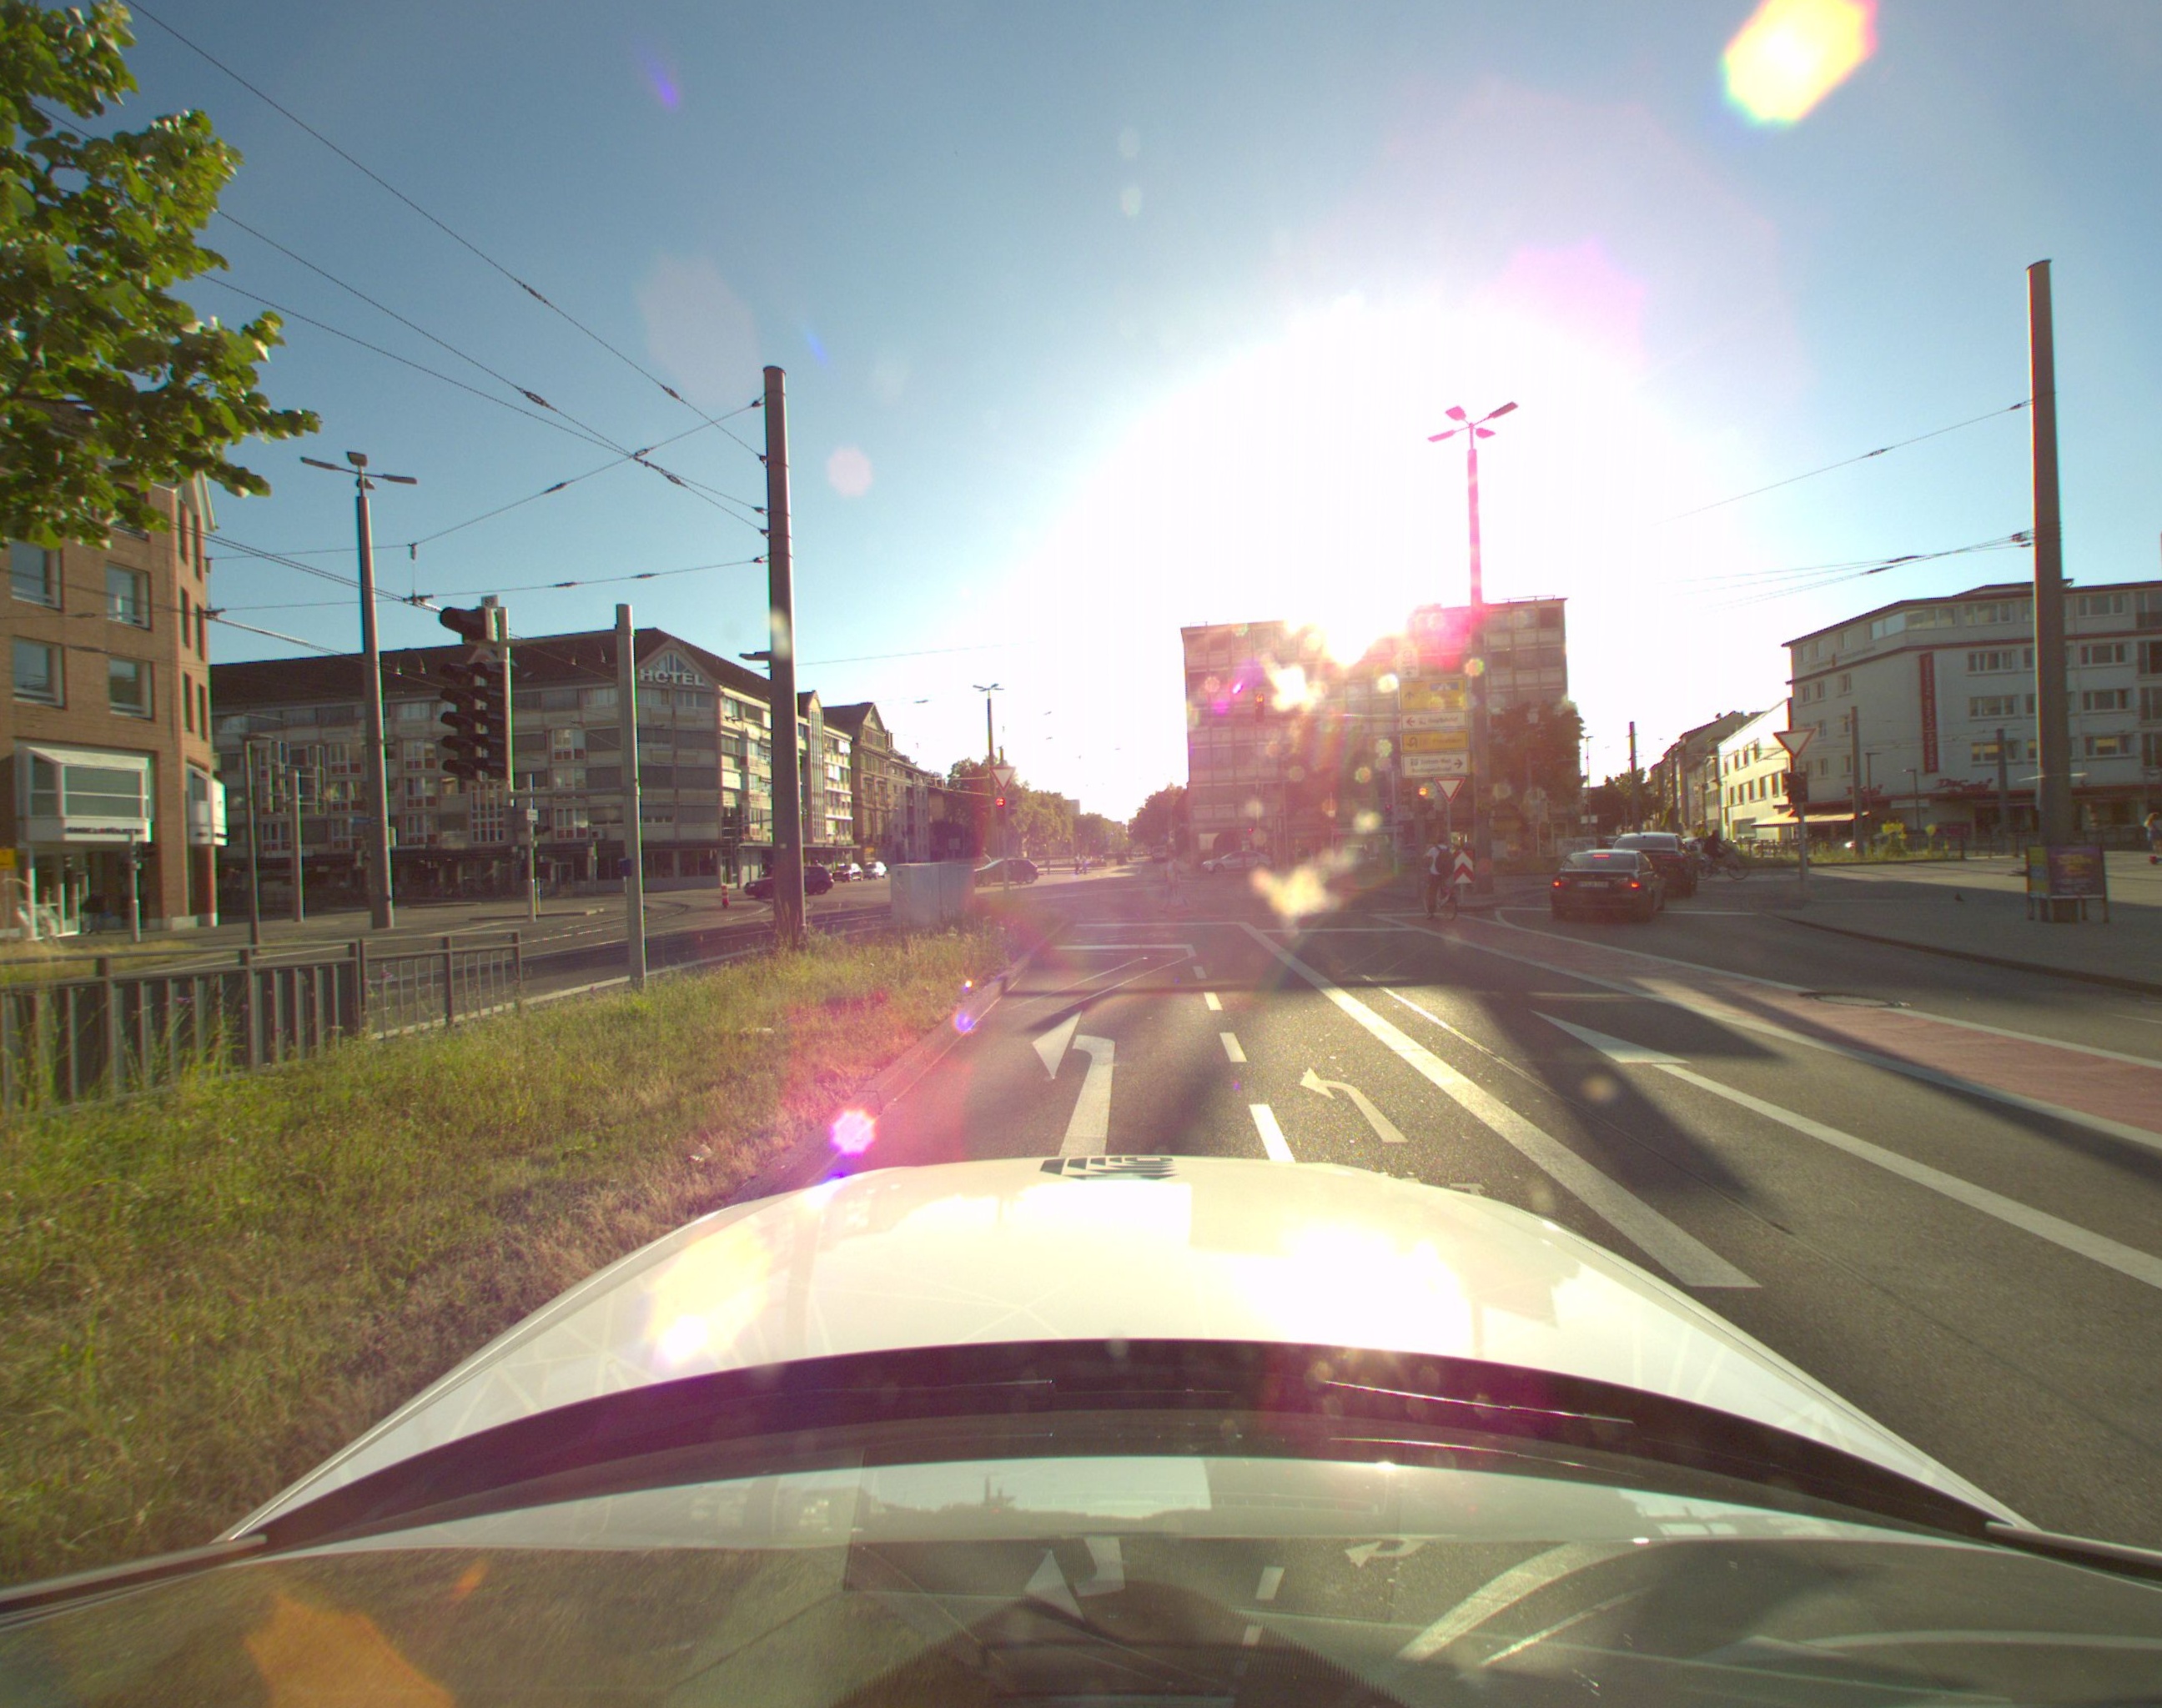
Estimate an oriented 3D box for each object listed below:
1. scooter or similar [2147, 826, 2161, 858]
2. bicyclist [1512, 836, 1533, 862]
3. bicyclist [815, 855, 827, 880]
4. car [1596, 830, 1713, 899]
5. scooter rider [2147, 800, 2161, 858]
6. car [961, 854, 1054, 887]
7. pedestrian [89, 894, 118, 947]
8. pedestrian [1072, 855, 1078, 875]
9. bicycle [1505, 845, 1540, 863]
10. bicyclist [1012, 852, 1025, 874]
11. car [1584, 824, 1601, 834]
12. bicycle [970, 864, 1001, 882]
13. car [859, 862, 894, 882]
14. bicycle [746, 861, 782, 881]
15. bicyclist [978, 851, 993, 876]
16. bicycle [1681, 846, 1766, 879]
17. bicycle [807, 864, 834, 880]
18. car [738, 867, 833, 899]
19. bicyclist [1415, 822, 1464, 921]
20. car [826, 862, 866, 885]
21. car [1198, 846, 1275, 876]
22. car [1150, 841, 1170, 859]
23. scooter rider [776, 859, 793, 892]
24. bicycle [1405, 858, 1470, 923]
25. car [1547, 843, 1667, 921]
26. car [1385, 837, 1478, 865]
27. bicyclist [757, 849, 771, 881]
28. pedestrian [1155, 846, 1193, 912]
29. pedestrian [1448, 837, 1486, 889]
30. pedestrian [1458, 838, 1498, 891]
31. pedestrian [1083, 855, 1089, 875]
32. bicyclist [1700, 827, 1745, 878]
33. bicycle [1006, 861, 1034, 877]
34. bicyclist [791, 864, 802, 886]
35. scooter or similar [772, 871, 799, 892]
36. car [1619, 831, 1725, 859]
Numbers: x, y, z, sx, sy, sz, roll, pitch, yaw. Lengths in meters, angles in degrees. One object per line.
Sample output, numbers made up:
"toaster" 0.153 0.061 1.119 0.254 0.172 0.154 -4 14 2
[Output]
"scooter or similar" 36.371 -0.404 27.384 1.391 1.033 0.489 -2 0 -31
"bicyclist" 29.989 -0.335 55.295 1.036 1.739 0.678 -2 0 0
"bicyclist" -18.449 0.952 57.768 0.662 1.712 0.537 -3 0 -5
"car" 15.833 0.219 22.420 1.975 1.693 4.024 0 2 45
"scooter rider" 36.374 -0.850 27.417 0.535 1.920 0.496 -2 0 -31
"car" -4.122 0.901 45.786 4.787 1.596 1.984 -3 0 -25
"pedestrian" -34.302 2.337 28.589 0.495 1.807 0.546 -3 0 32
"pedestrian" -0.446 0.814 62.443 0.365 1.508 0.542 -3 0 -3
"bicycle" 29.963 0.003 55.288 1.966 1.098 0.677 -2 0 0
"bicyclist" -5.025 0.729 65.435 0.895 1.753 0.650 -3 0 0
"car" 75.833 -3.656 120.813 1.974 1.398 4.025 -3 0 31
"bicycle" -6.781 1.353 57.867 2.087 1.137 0.658 -3 0 -1
"car" -20.550 1.765 82.059 1.983 1.860 4.008 -3 0 7
"bicycle" -17.663 0.941 45.373 1.783 1.072 0.531 -2 0 -22
"bicyclist" -6.788 0.684 57.873 0.895 1.753 0.654 -3 0 0
"bicycle" 21.697 0.280 27.542 2.214 1.026 0.683 -2 0 7
"bicycle" -18.464 1.284 57.765 1.729 1.059 0.538 -3 0 -6
"car" -14.253 1.361 39.326 4.014 1.288 1.829 -2 0 -32
"bicyclist" 7.514 0.345 17.123 0.640 2.013 1.069 0 1 5
"car" -21.318 1.732 74.095 1.983 1.860 4.008 -3 0 7
"car" 9.607 0.422 50.465 4.318 1.596 2.000 -3 0 -1
"car" 11.104 -0.522 114.997 2.475 2.392 5.941 -4 -1 4
"scooter rider" -15.559 1.110 42.804 0.662 1.712 0.525 -3 0 -5
"bicycle" 7.518 0.725 17.260 0.641 1.223 2.051 0 2 5
"car" 11.144 0.517 17.133 1.727 1.426 4.026 -2 0 38
"car" 21.203 -0.199 49.439 4.887 1.479 2.006 -2 0 11
"bicyclist" -17.652 0.610 45.383 0.666 1.712 0.534 -2 0 -22
"pedestrian" 2.347 0.625 20.712 0.874 1.597 0.656 -2 0 4
"pedestrian" 12.432 0.289 26.242 0.875 1.597 0.656 -2 0 2
"pedestrian" 12.406 0.322 25.470 0.875 1.597 0.656 -2 0 2
"pedestrian" 0.360 0.840 63.314 0.365 1.508 0.542 -3 0 -3
"bicyclist" 21.688 -0.056 27.541 0.953 1.661 0.692 -2 0 7
"bicycle" -4.902 1.194 65.435 2.167 1.137 0.659 -3 0 -1
"bicyclist" -24.483 1.809 70.149 0.590 1.862 0.643 -3 0 6
"scooter or similar" -15.518 1.435 42.803 1.170 1.072 0.529 -3 0 -6
"car" 36.298 -0.556 50.182 4.885 1.479 2.008 -2 0 14
